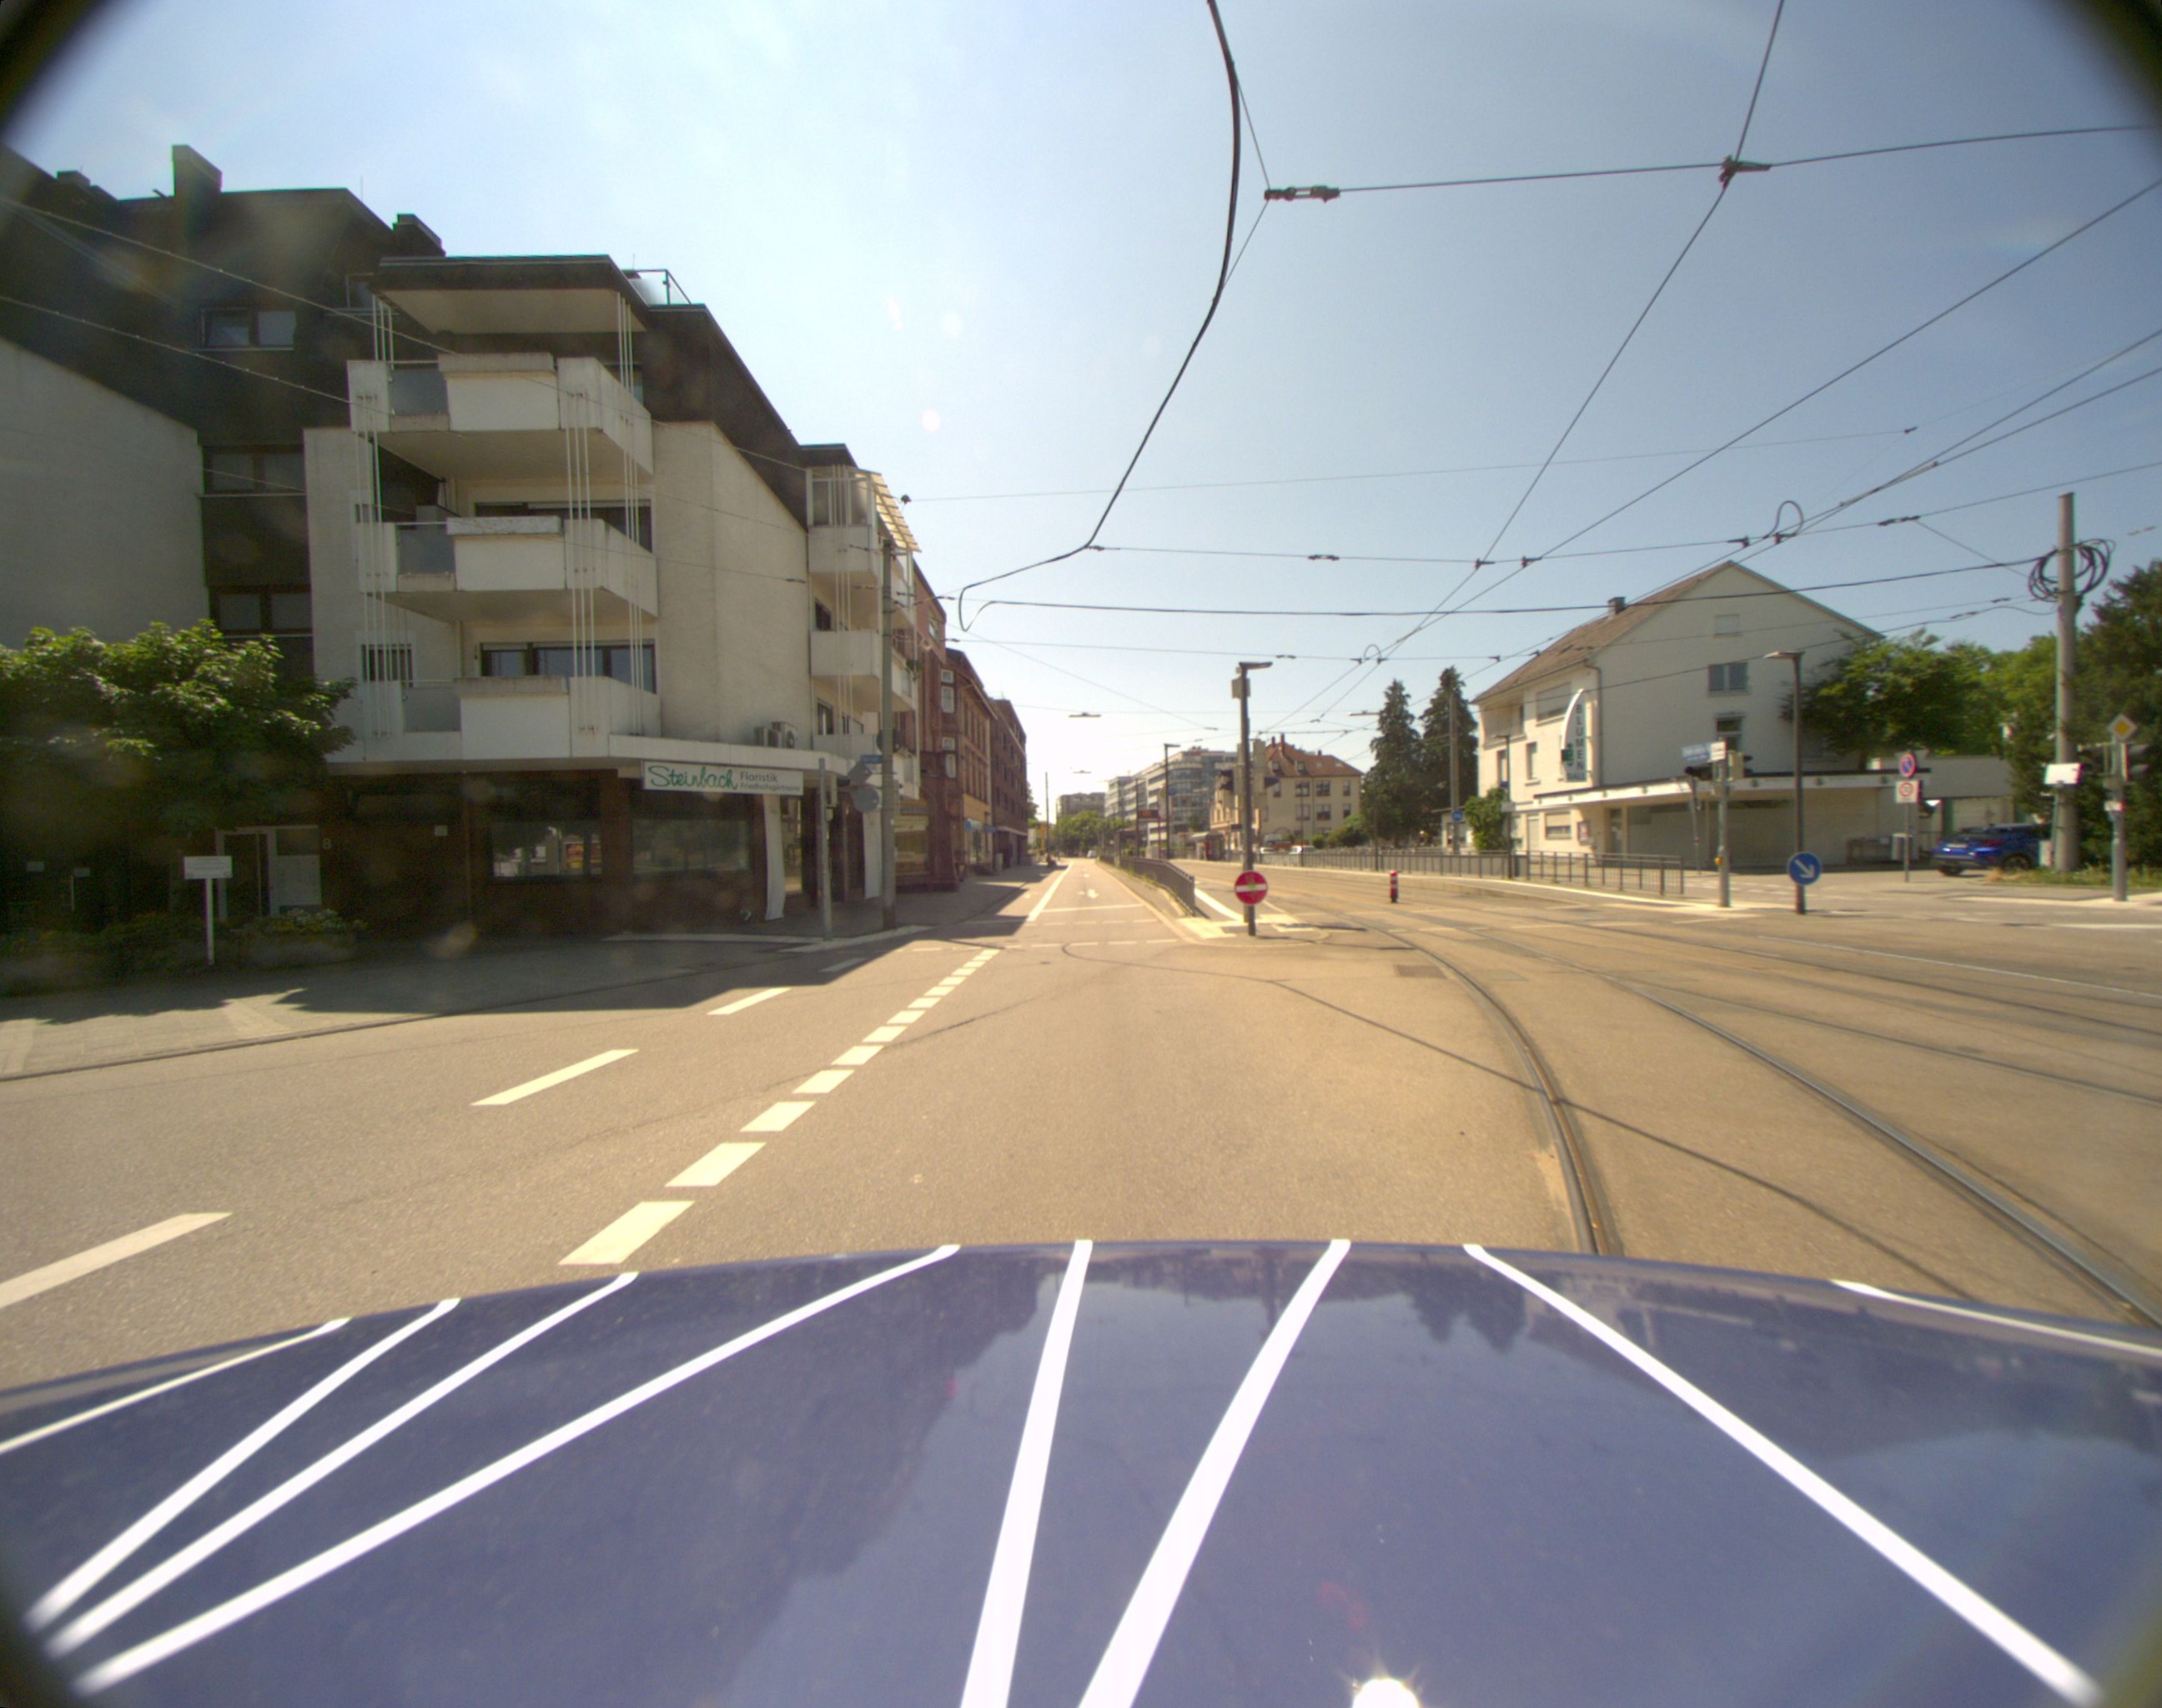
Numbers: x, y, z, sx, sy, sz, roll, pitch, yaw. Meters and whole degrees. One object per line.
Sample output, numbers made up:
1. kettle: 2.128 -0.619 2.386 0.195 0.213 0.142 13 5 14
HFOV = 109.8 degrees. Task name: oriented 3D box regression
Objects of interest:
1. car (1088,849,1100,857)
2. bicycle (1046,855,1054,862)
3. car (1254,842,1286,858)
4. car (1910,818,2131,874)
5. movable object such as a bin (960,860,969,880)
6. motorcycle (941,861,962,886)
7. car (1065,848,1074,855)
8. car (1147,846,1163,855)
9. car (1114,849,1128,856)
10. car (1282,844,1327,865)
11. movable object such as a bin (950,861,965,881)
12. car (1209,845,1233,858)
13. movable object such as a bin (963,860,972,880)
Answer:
1. car: 3.108 -0.343 178.919 1.862 1.806 4.694 -2 0 -10
2. bicycle: -4.093 0.576 99.957 0.689 0.793 1.909 -2 0 6
3. car: 17.025 -0.402 68.561 1.822 1.355 4.051 -2 0 0
4. car: 27.271 -0.224 22.174 3.954 1.444 1.824 -2 1 5
5. movable object such as a bin: -6.155 0.867 40.238 0.376 1.042 0.559 1 1 0
6. motorcycle: -6.198 0.927 36.378 0.528 1.142 1.880 -2 1 5
7. car: -3.326 -0.802 217.979 2.001 1.827 3.995 -2 0 -12
8. car: 12.575 -0.568 129.204 1.824 1.387 4.171 -2 0 -9
9. car: 8.081 -0.311 153.396 1.824 1.459 4.619 -2 0 -11
10. car: 16.392 0.016 55.895 1.823 1.481 4.497 -2 1 -2
11. movable object such as a bin: -6.437 0.897 39.593 0.649 1.042 0.559 1 1 0
12. car: 16.430 -0.256 89.604 1.861 1.433 4.477 -2 0 -1
13. movable object such as a bin: -6.099 0.851 40.886 0.376 1.042 0.657 1 1 0
